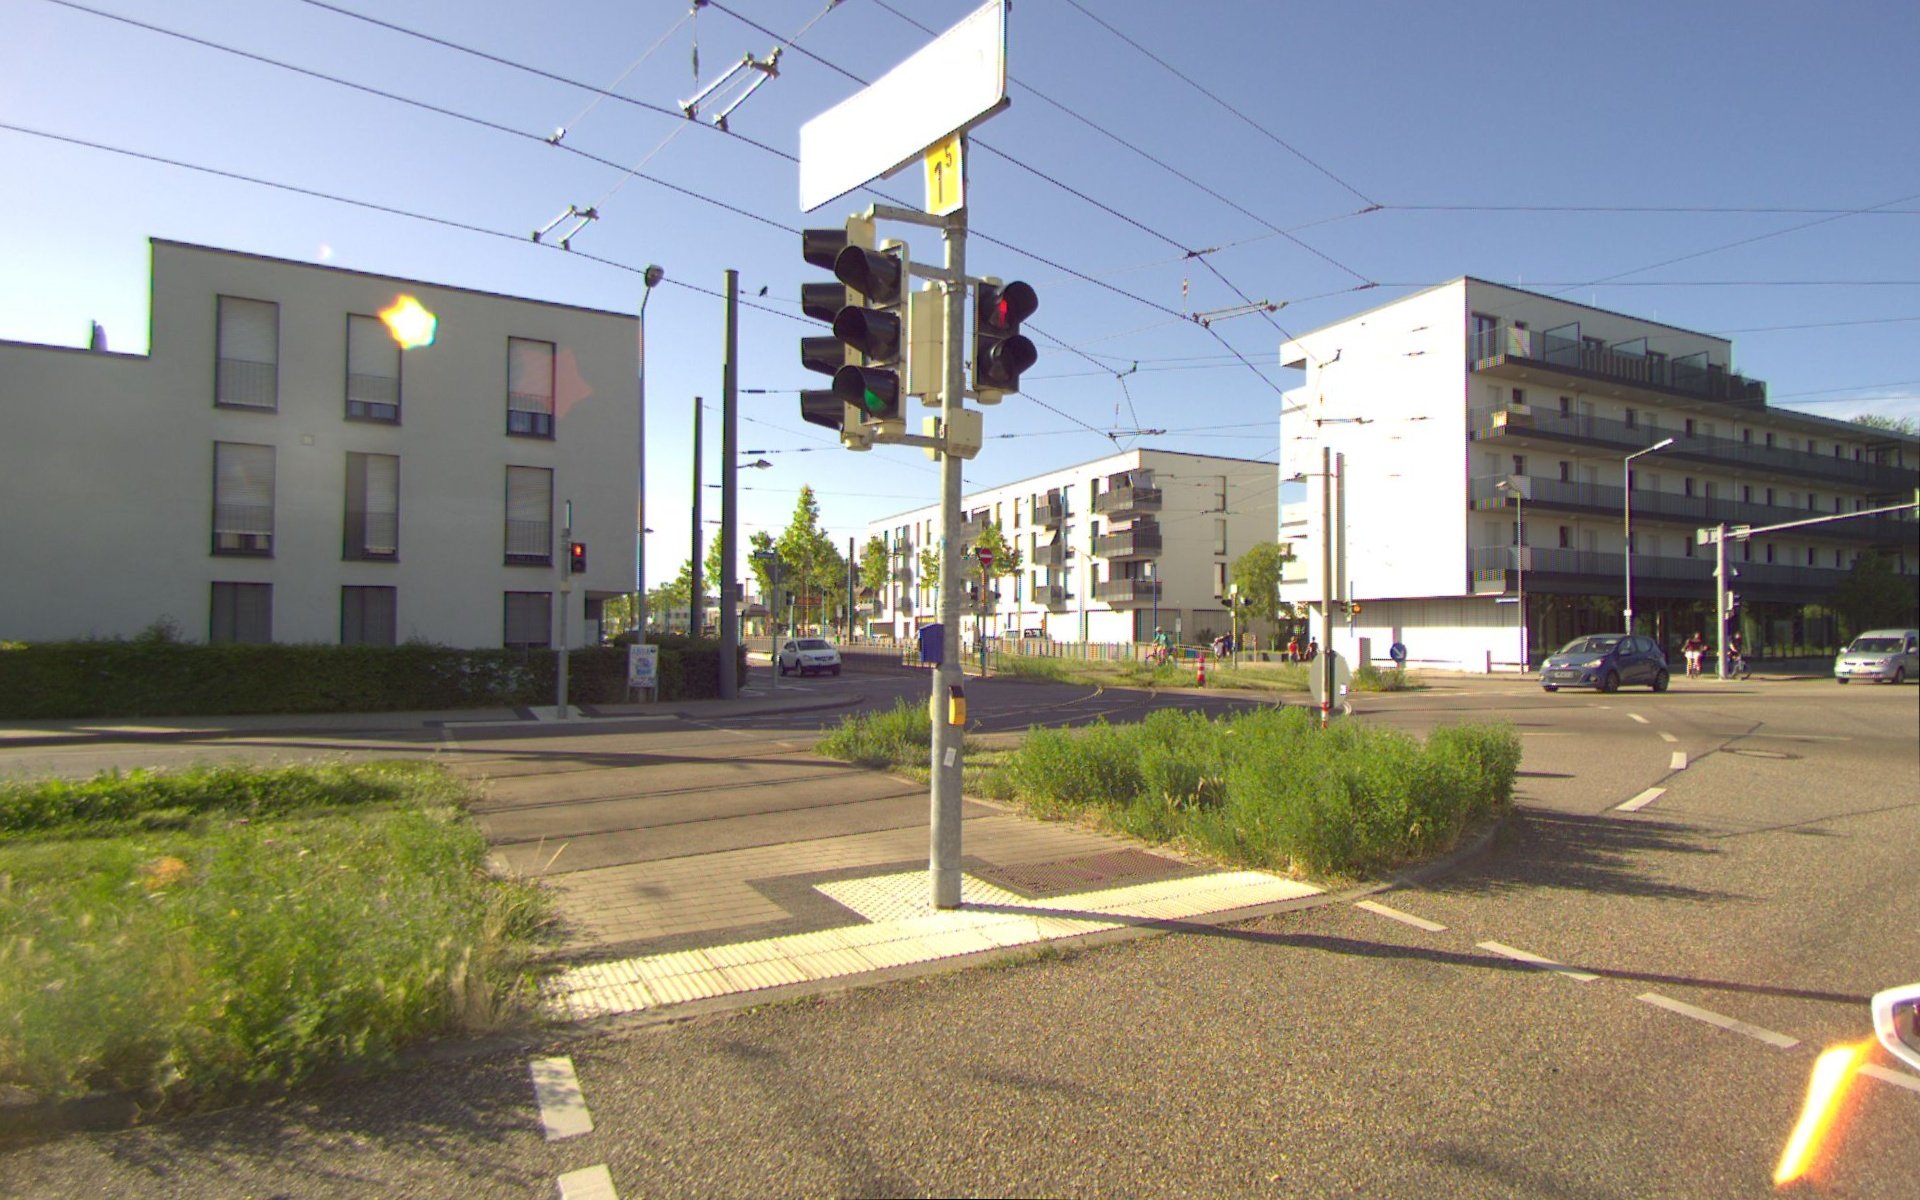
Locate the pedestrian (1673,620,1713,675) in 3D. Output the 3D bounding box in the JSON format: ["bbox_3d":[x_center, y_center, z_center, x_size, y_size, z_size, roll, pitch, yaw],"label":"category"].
[{"bbox_3d":[27.550,1.781,37.771,0.751,2.040,0.972,1,-2,-30],"label":"pedestrian"}]

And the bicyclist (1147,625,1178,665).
[{"bbox_3d":[8.181,1.815,40.627,0.899,1.613,0.891,1,-2,-20],"label":"bicyclist"}]

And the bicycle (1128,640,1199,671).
[{"bbox_3d":[8.226,2.240,40.623,2.782,1.214,0.900,1,-2,-20],"label":"bicycle"}]

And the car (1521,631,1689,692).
[{"bbox_3d":[16.851,1.562,26.210,4.394,1.475,1.690,1,-2,-27],"label":"car"}]

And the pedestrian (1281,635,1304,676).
[{"bbox_3d":[14.454,2.403,43.661,0.741,1.709,0.572,1,0,42],"label":"pedestrian"}]

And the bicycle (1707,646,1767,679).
[{"bbox_3d":[28.880,2.308,37.365,0.738,1.159,1.626,1,-2,-37],"label":"bicycle"}]

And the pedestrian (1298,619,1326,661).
[{"bbox_3d":[15.046,1.689,42.977,0.933,1.756,0.647,1,0,1],"label":"pedestrian"}]

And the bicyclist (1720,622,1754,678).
[{"bbox_3d":[28.902,1.843,37.352,0.804,2.040,0.787,1,-2,-37],"label":"bicyclist"}]

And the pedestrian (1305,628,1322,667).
[{"bbox_3d":[15.138,2.013,42.991,0.498,1.644,0.454,1,0,-30],"label":"pedestrian"}]

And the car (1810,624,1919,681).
[{"bbox_3d":[30.409,1.704,33.282,4.307,1.778,1.986,1,-2,-28],"label":"car"}]

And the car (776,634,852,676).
[{"bbox_3d":[-6.261,2.307,42.757,1.984,1.687,3.972,1,-2,-28],"label":"car"}]

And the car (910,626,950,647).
[{"bbox_3d":[-2.573,3.058,84.761,1.973,1.574,3.974,1,0,-25],"label":"car"}]
